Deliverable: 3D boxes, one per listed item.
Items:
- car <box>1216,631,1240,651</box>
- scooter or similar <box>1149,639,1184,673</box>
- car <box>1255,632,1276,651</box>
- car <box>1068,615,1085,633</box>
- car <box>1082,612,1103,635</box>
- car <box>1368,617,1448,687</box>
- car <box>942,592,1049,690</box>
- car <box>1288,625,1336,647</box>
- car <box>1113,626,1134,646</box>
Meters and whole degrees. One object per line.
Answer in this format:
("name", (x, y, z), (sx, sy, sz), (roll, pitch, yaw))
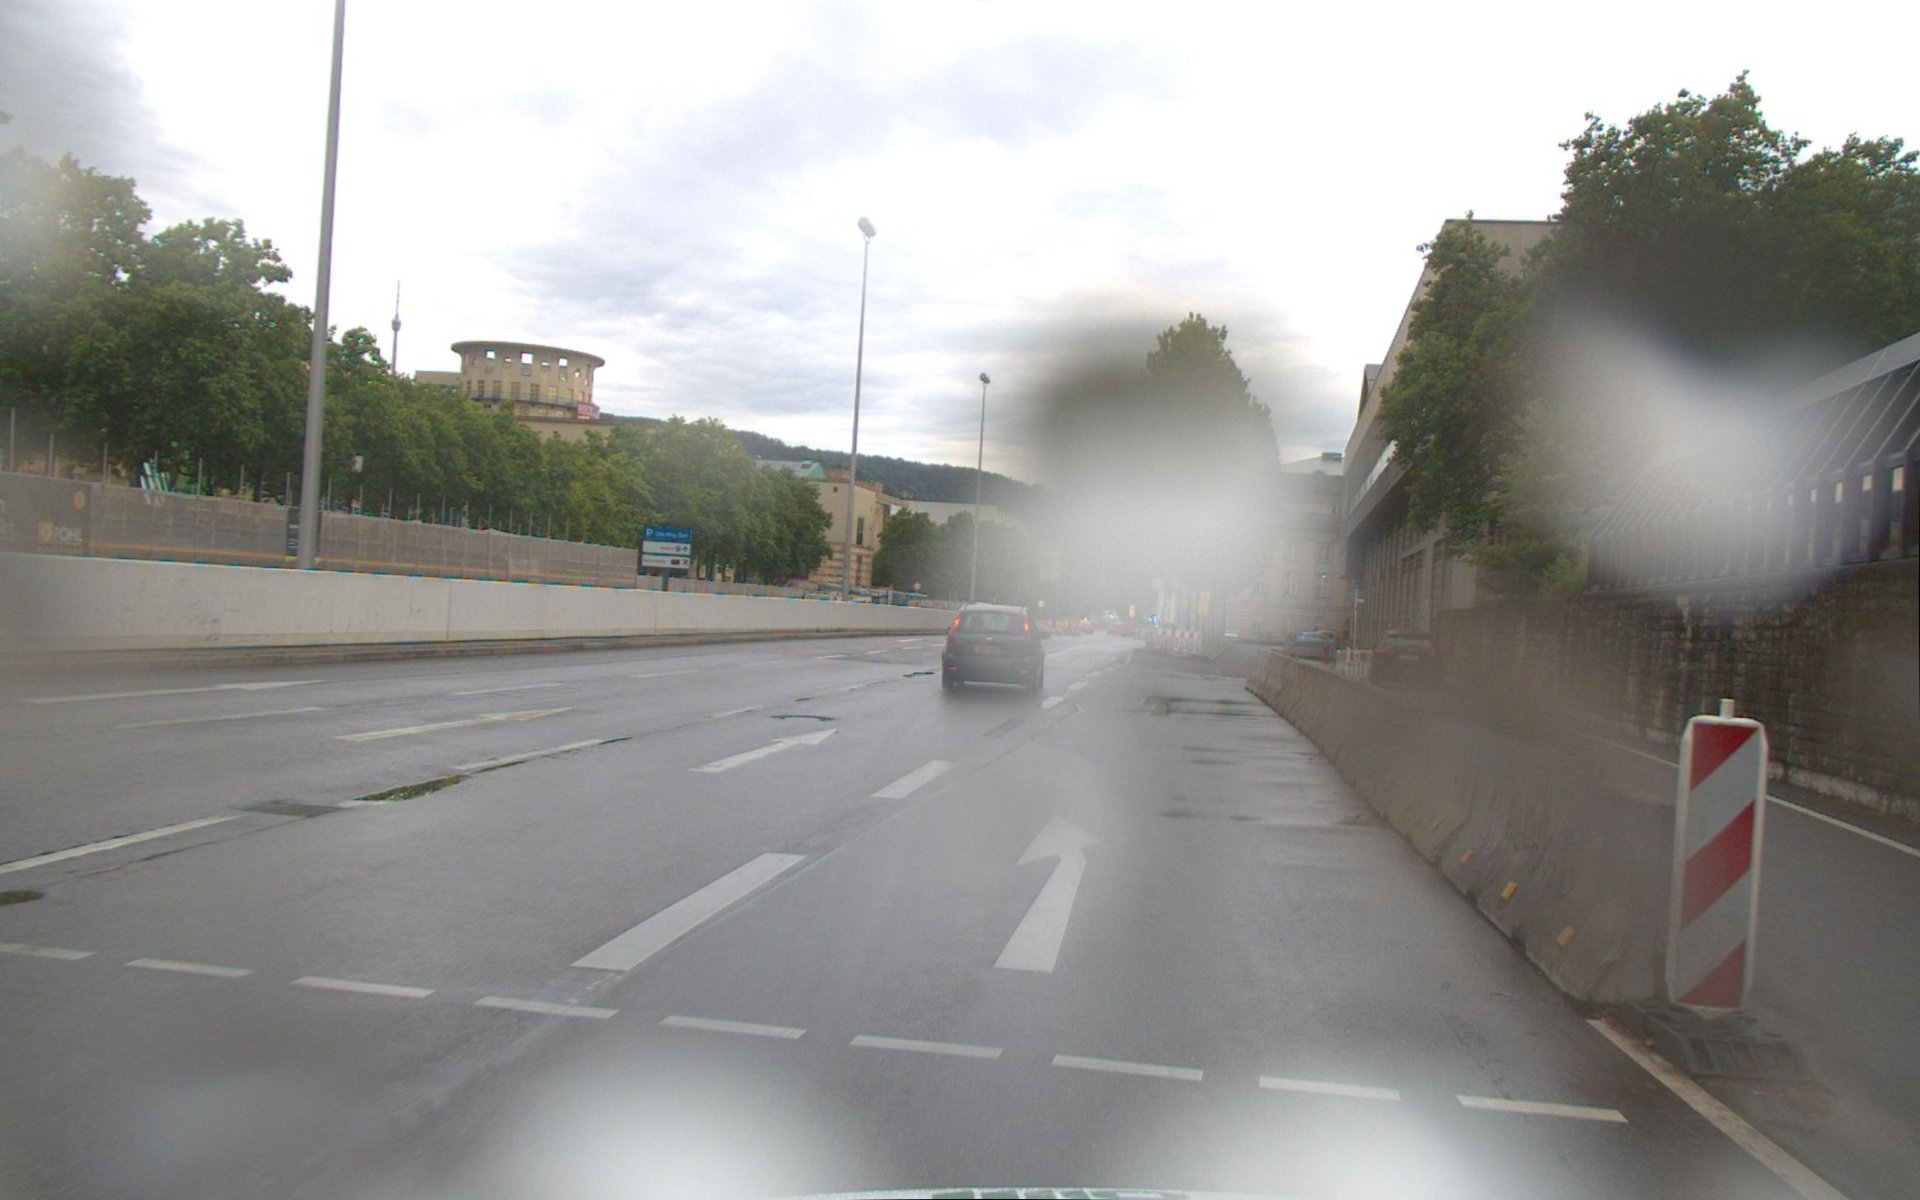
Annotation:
("car", (25.639, 3.900, 158.117), (1.952, 1.738, 4.003), (5, 0, 13))
("scooter or similar", (8.758, 2.377, 70.252), (1.327, 1.307, 0.619), (6, -3, 10))
("car", (32.937, 4.443, 178.407), (1.952, 1.738, 4.002), (5, -2, 13))
("car", (9.885, 2.067, 140.843), (1.356, 1.411, 3.068), (3, -2, 4))
("car", (14.267, 2.543, 178.256), (1.953, 2.048, 4.001), (6, -2, 4))
("car", (11.851, 1.351, 43.938), (1.767, 1.578, 4.329), (5, 0, 13))
("car", (0.653, 0.663, 28.756), (1.636, 1.452, 3.759), (5, 0, 2))
("car", (30.386, 3.130, 142.808), (3.902, 1.587, 1.934), (2, -4, 9))
("car", (18.183, 4.027, 183.838), (1.952, 2.048, 4.003), (5, 0, 8))
